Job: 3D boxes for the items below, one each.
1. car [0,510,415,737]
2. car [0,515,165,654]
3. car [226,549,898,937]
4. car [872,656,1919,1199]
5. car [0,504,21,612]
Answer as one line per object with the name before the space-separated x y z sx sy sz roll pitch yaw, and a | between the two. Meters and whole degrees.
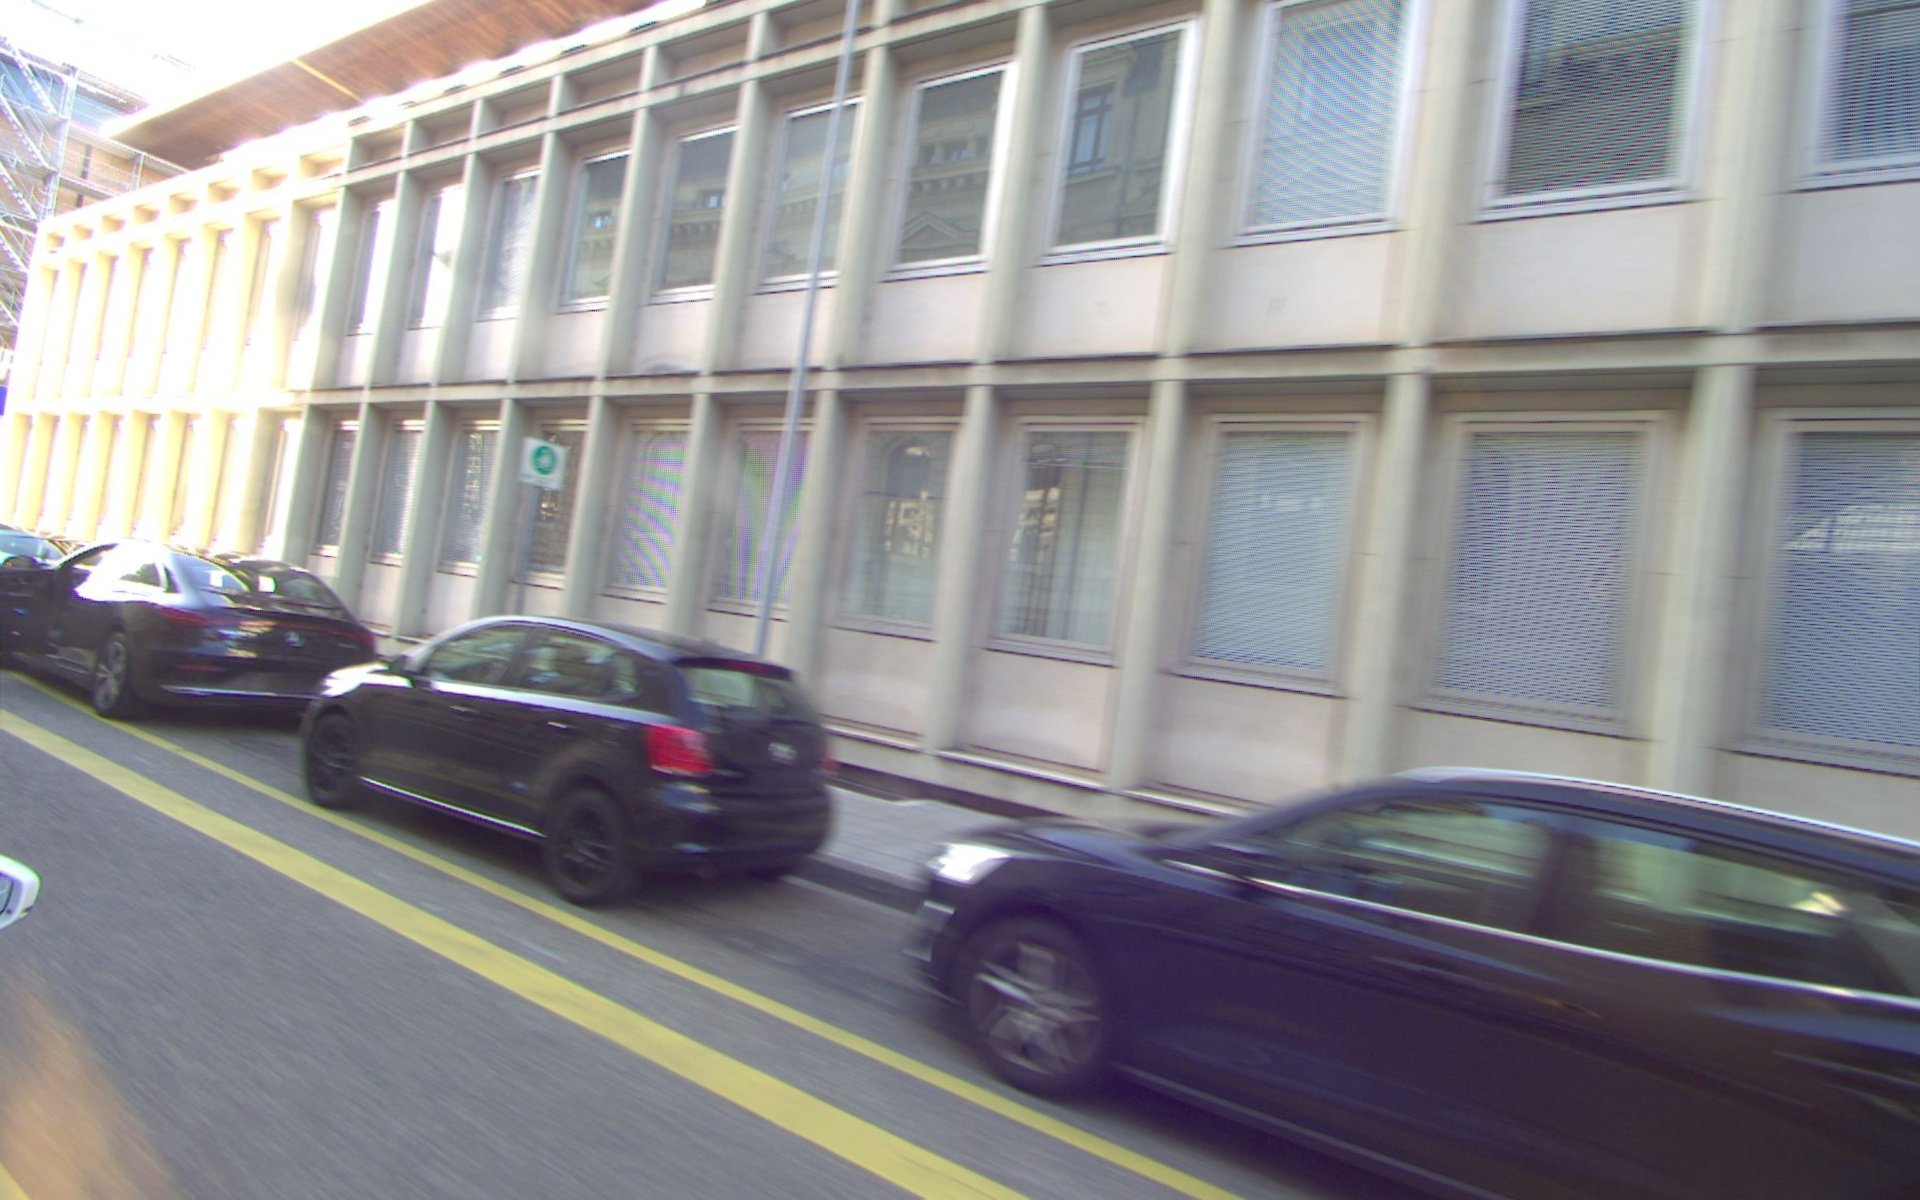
car | -7.536 0.160 9.617 4.658 1.516 1.830 6 -5 31
car | -12.411 -0.324 13.123 4.409 1.413 1.829 5 -5 35
car | -2.733 0.745 6.643 4.217 1.495 1.787 8 -4 32
car | 1.979 1.319 3.846 4.217 1.495 1.788 7 -4 31
car | -17.730 -1.038 16.686 4.589 1.717 1.830 8 -4 32
